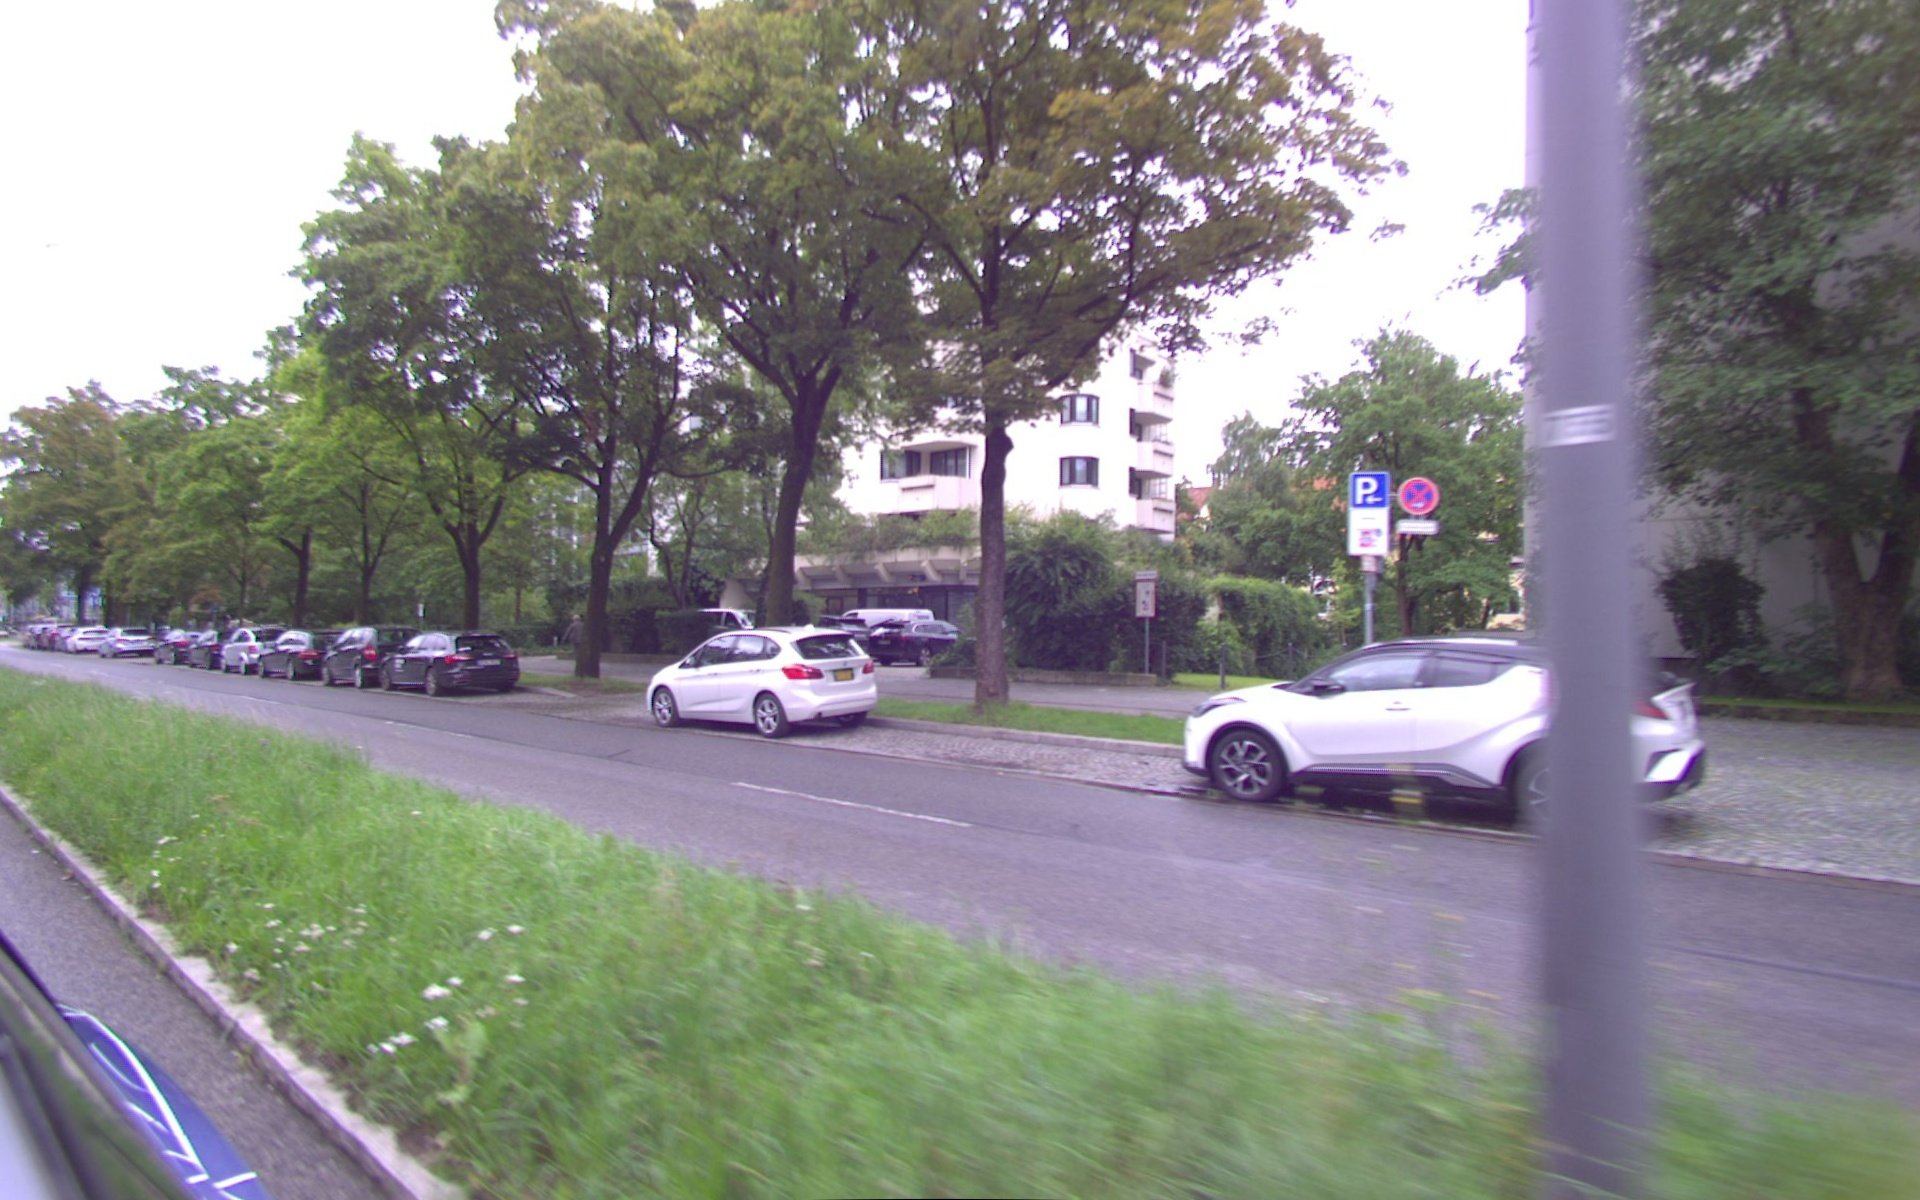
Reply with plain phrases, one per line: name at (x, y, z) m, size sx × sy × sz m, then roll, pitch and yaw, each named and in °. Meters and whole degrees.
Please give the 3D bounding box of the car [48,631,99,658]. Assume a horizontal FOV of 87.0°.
car at (-52.106, 2.593, 59.456) m, size 4.332 × 1.494 × 1.720 m, roll -2°, pitch 0°, yaw 42°

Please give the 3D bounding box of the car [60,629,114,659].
car at (-48.423, 2.418, 56.117) m, size 4.474 × 1.541 × 1.720 m, roll -2°, pitch -1°, yaw 42°

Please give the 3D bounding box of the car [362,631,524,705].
car at (-12.272, 1.521, 23.853) m, size 4.946 × 1.525 × 1.741 m, roll -2°, pitch 0°, yaw 42°

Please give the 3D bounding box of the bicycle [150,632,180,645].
bicycle at (-62.307, 3.040, 79.329) m, size 0.436 × 1.014 × 1.744 m, roll -2°, pitch -3°, yaw 41°

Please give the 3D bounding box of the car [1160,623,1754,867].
car at (4.258, 1.060, 9.161) m, size 4.490 × 1.621 × 1.813 m, roll -2°, pitch 0°, yaw 42°

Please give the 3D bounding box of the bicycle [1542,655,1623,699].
bicycle at (13.609, 1.678, 22.143) m, size 1.450 × 0.907 × 0.453 m, roll -1°, pitch -3°, yaw 41°

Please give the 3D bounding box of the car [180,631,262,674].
car at (-27.191, 1.885, 37.204) m, size 4.191 × 1.434 × 1.608 m, roll -2°, pitch 0°, yaw 42°

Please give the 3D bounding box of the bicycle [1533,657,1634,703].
bicycle at (13.295, 1.684, 21.611) m, size 1.765 × 0.907 × 0.472 m, roll -2°, pitch -3°, yaw 41°

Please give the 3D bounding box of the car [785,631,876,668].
car at (-4.476, 1.665, 34.828) m, size 3.126 × 1.209 × 1.440 m, roll -2°, pitch -2°, yaw 42°

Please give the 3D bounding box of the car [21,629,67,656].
car at (-60.355, 2.789, 66.654) m, size 4.683 × 1.656 × 1.720 m, roll -2°, pitch -1°, yaw 42°

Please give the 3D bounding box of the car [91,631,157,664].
car at (-41.132, 2.286, 49.744) m, size 4.820 × 1.459 × 1.718 m, roll -2°, pitch 0°, yaw 41°

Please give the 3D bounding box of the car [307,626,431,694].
car at (-15.823, 1.535, 27.011) m, size 4.209 × 1.609 × 1.668 m, roll -2°, pitch 0°, yaw 42°

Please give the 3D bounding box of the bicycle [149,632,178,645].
bicycle at (-62.756, 3.069, 79.715) m, size 0.436 × 1.014 × 1.744 m, roll -2°, pitch -3°, yaw 41°

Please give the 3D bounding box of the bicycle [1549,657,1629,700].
bicycle at (13.958, 1.729, 22.484) m, size 1.450 × 0.907 × 0.453 m, roll -1°, pitch -3°, yaw 41°

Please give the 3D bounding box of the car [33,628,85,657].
car at (-56.017, 2.638, 62.900) m, size 4.602 × 1.664 × 1.721 m, roll -2°, pitch 0°, yaw 40°

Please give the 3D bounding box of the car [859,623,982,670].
car at (-1.214, 1.490, 32.853) m, size 1.861 × 1.429 × 3.937 m, roll -2°, pitch -2°, yaw 39°

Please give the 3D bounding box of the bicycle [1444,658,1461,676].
bicycle at (24.862, 3.391, 51.081) m, size 0.415 × 0.888 × 1.430 m, roll -2°, pitch -3°, yaw 41°

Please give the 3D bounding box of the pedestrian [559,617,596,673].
pedestrian at (-11.786, 1.380, 31.182) m, size 0.607 × 1.669 × 0.841 m, roll -1°, pitch -3°, yaw 35°

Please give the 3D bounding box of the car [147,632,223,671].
car at (-31.233, 2.048, 40.740) m, size 4.360 × 1.434 × 1.564 m, roll -2°, pitch 0°, yaw 41°

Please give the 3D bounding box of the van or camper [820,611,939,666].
van or camper at (-3.019, 1.396, 37.271) m, size 4.430 × 1.885 × 1.837 m, roll -2°, pitch -2°, yaw 42°

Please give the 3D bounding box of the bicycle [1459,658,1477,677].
bicycle at (25.362, 3.379, 50.528) m, size 0.415 × 0.888 × 1.430 m, roll -2°, pitch -3°, yaw 41°

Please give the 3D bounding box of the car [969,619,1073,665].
car at (2.284, 1.526, 37.174) m, size 1.787 × 1.603 × 3.935 m, roll -2°, pitch -2°, yaw 41°

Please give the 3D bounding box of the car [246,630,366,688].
car at (-19.868, 1.724, 30.663) m, size 5.031 × 1.536 × 1.698 m, roll -2°, pitch 0°, yaw 41°

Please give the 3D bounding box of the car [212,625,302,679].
car at (-23.749, 1.703, 34.141) m, size 3.866 × 1.660 × 1.608 m, roll -2°, pitch 0°, yaw 42°

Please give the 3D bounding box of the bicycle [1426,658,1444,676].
bicycle at (24.163, 3.397, 51.469) m, size 0.415 × 0.888 × 1.430 m, roll -2°, pitch -3°, yaw 41°

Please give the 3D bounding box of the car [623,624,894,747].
car at (-3.256, 1.227, 15.835) m, size 4.486 × 1.607 × 1.739 m, roll -2°, pitch 0°, yaw 40°

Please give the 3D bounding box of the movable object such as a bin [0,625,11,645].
movable object such as a bin at (-96.451, 3.511, 100.743) m, size 3.991 × 1.968 × 2.174 m, roll -1°, pitch -3°, yaw 35°

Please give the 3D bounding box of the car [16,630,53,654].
car at (-64.368, 2.903, 70.385) m, size 3.819 × 1.626 × 1.629 m, roll -2°, pitch -1°, yaw 43°
